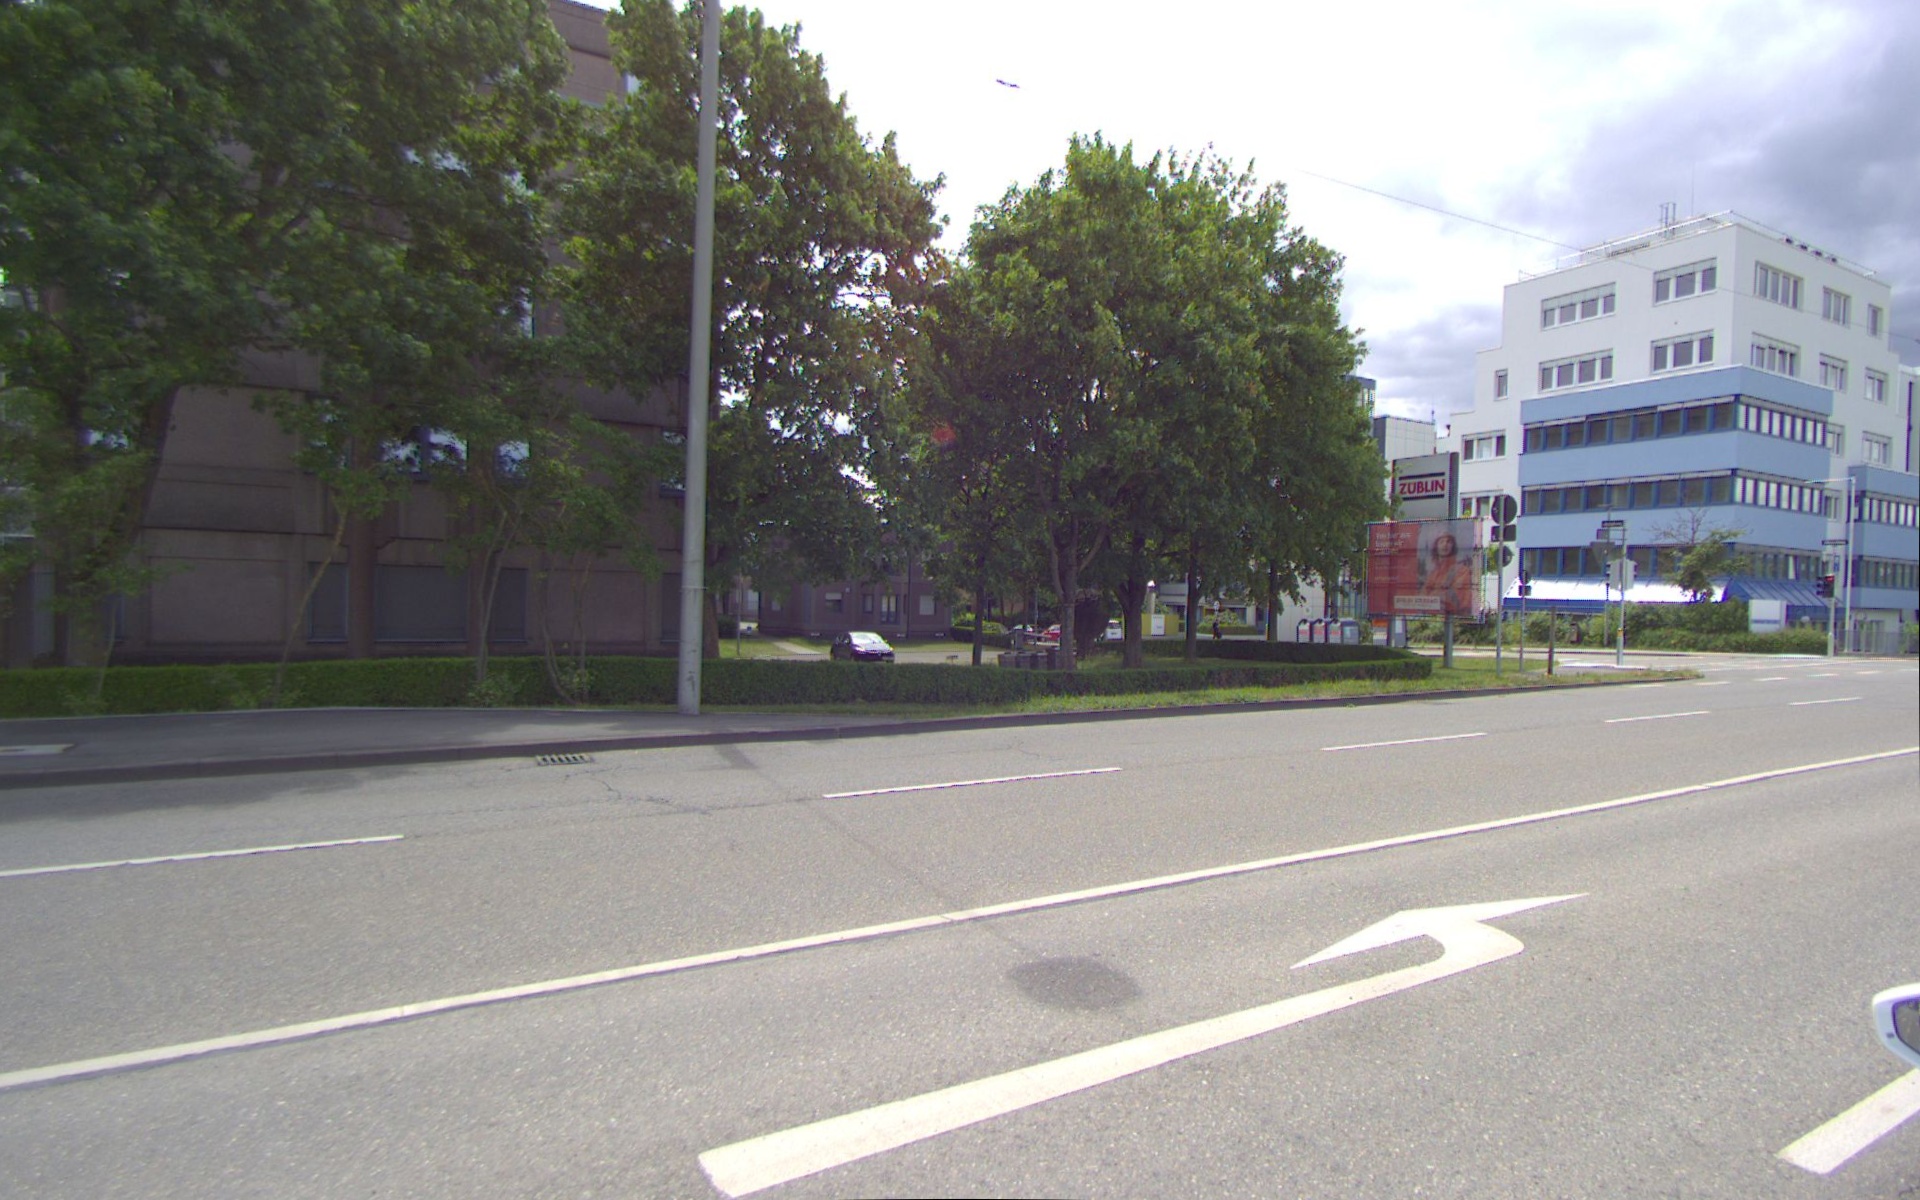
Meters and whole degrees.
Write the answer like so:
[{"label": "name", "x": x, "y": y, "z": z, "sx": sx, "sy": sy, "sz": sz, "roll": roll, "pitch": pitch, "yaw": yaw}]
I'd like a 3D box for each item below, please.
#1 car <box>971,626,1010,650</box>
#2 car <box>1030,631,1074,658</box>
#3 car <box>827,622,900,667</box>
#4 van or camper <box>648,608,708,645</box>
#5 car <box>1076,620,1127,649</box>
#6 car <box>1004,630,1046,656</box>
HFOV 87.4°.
[{"label": "car", "x": 2.777, "y": 3.470, "z": 92.236, "sx": 1.787, "sy": 2.040, "sz": 3.967, "roll": 2, "pitch": 0, "yaw": -30}, {"label": "car", "x": 7.614, "y": 3.699, "z": 83.465, "sx": 1.868, "sy": 2.040, "sz": 3.973, "roll": 2, "pitch": 0, "yaw": -26}, {"label": "car", "x": -3.985, "y": 1.827, "z": 41.082, "sx": 1.762, "sy": 1.750, "sz": 3.975, "roll": 1, "pitch": -3, "yaw": -25}, {"label": "van or camper", "x": -18.074, "y": 1.666, "z": 64.103, "sx": 2.332, "sy": 2.132, "sz": 5.160, "roll": 2, "pitch": 0, "yaw": -32}, {"label": "car", "x": 10.870, "y": 2.629, "z": 77.393, "sx": 1.974, "sy": 2.007, "sz": 3.973, "roll": 2, "pitch": 0, "yaw": -27}, {"label": "car", "x": 5.594, "y": 3.684, "z": 87.019, "sx": 1.848, "sy": 2.040, "sz": 3.972, "roll": 2, "pitch": 0, "yaw": -27}]
